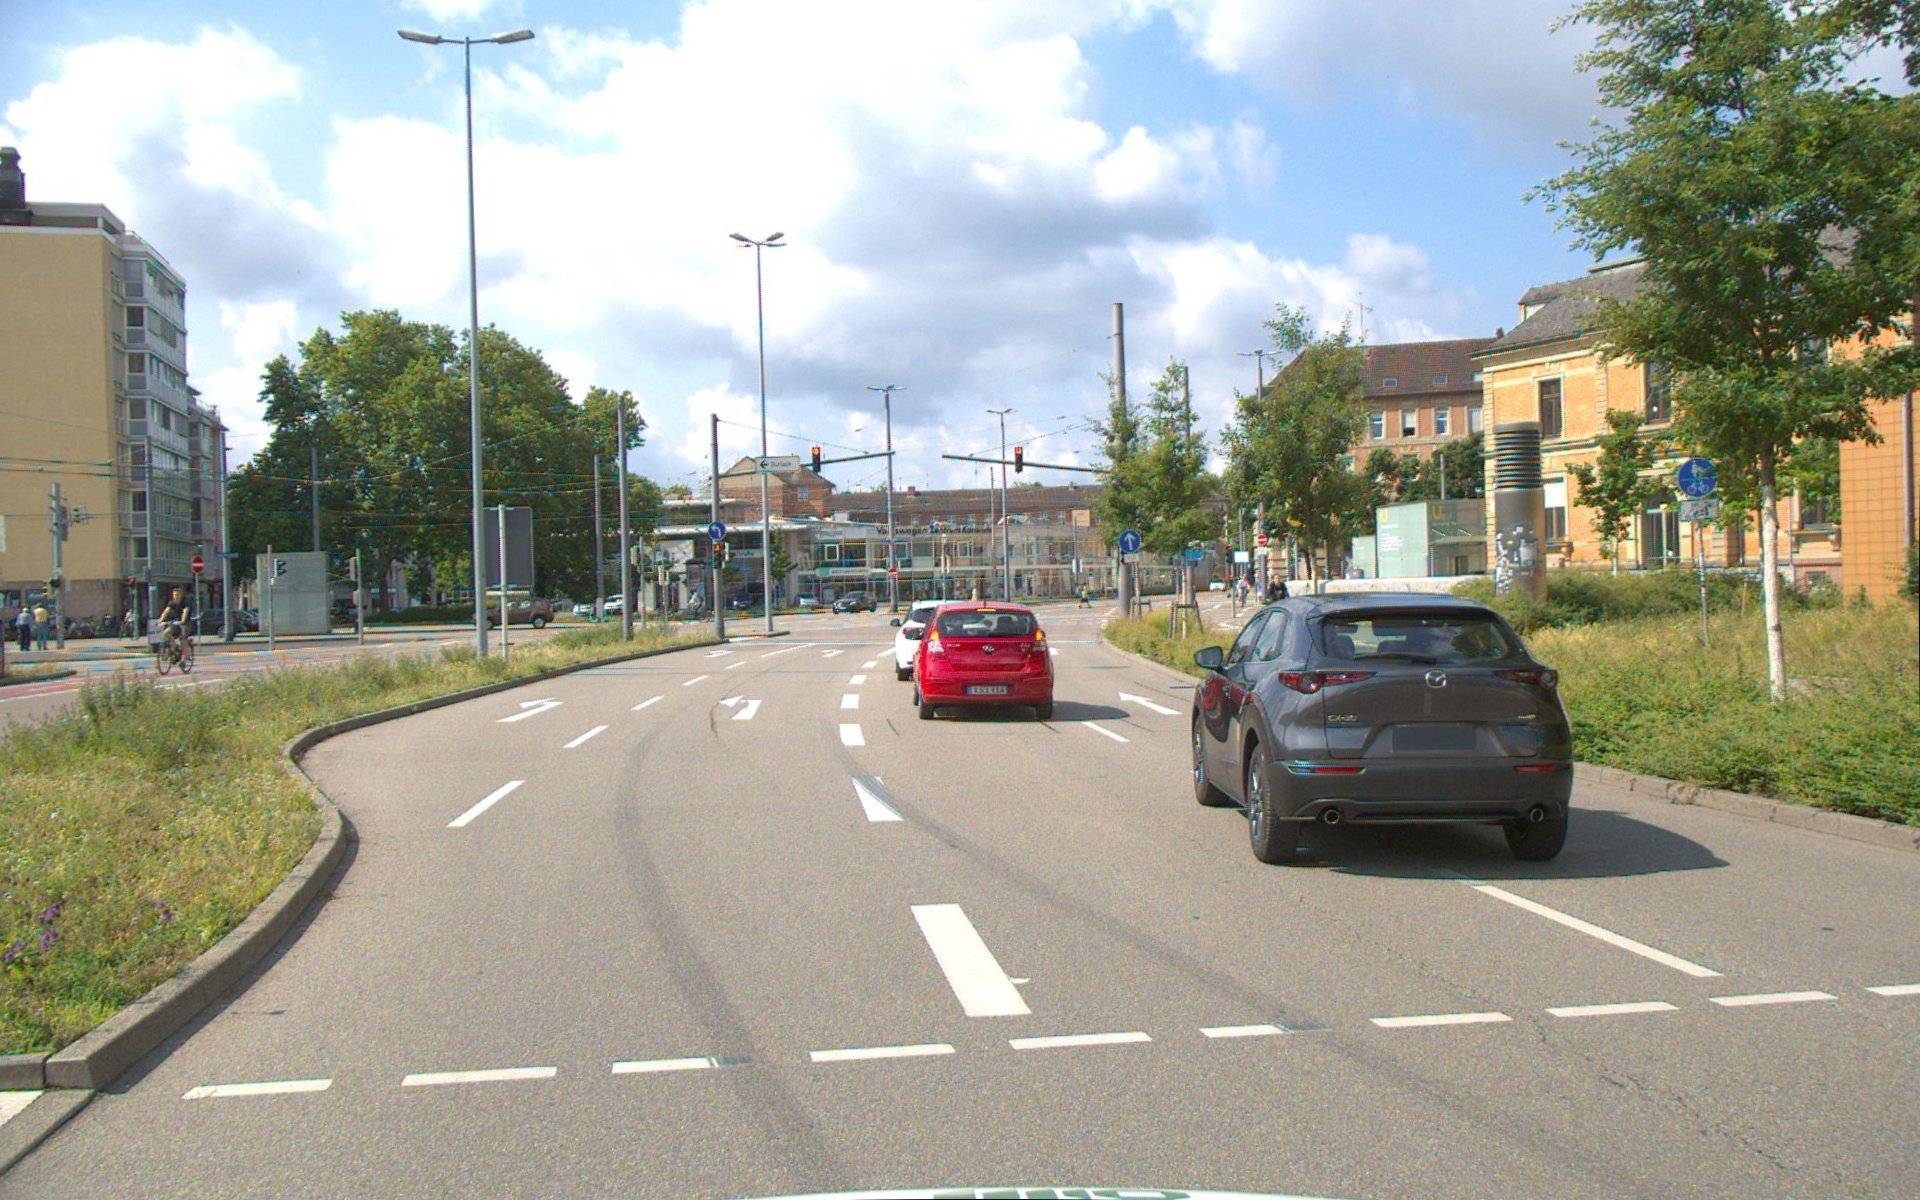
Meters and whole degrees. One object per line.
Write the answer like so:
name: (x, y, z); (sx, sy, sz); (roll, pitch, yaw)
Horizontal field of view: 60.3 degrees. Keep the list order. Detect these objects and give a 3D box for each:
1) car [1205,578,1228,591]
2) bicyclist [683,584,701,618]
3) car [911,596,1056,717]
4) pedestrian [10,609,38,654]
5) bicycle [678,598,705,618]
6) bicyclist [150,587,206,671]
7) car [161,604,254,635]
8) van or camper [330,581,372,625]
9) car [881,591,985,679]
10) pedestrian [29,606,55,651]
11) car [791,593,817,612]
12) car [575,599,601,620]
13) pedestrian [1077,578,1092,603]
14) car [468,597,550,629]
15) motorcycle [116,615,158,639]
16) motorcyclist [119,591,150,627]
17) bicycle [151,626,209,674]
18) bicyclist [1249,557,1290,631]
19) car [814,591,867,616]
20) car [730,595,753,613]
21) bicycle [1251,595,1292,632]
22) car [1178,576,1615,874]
car: (30.591, -1.825, 197.293); (1.952, 1.467, 4.001); (-1, 0, 21)
bicyclist: (-15.509, 0.055, 95.713); (0.873, 1.903, 0.759); (-2, 0, -21)
car: (0.272, 0.691, 22.418); (1.779, 1.464, 4.067); (0, 0, -1)
pedestrian: (-40.255, 1.348, 71.148); (0.684, 1.892, 0.819); (-2, 0, 0)
bicycle: (-15.549, 0.469, 95.690); (1.444, 1.136, 0.584); (-2, 0, -21)
bicyclist: (-17.713, 0.651, 37.482); (0.795, 1.854, 1.157); (-1, 0, -8)
car: (-37.816, 0.985, 83.219); (4.001, 1.534, 1.806); (0, 0, -16)
van or camper: (-42.908, 0.188, 116.432); (2.546, 2.959, 6.058); (-2, 0, -22)
car: (-0.556, 0.607, 31.575); (1.811, 1.498, 4.333); (-2, 0, -2)
pedestrian: (-39.516, 1.234, 71.184); (0.637, 1.900, 0.781); (-2, 0, 0)
car: (-14.152, 0.189, 149.522); (1.958, 1.624, 3.989); (-1, 0, -11)
car: (-33.653, 0.844, 149.704); (1.763, 1.800, 3.995); (-2, 0, -6)
pedestrian: (7.973, -0.603, 105.955); (0.669, 1.562, 0.664); (-2, 0, -39)
car: (-23.378, 0.671, 85.790); (4.001, 1.534, 1.806); (-2, 0, -16)
motorcycle: (-42.450, 1.396, 85.298); (0.764, 1.134, 2.436); (-2, 0, 5)
motorcyclist: (-42.489, 0.478, 85.171); (0.869, 1.813, 1.243); (-2, 0, 5)
bicycle: (-17.705, 1.125, 37.586); (0.605, 1.019, 2.014); (-1, 0, -8)
bicyclist: (7.461, -0.148, 39.874); (0.720, 1.732, 0.965); (-3, 0, 1)
car: (-8.027, 0.246, 111.426); (1.952, 1.556, 4.000); (-1, 0, 21)
car: (-19.569, 0.357, 148.088); (1.955, 1.579, 4.072); (-1, 0, -7)
bicycle: (7.488, 0.316, 39.814); (0.612, 0.825, 1.789); (-3, 0, 0)
car: (2.555, 0.666, 10.733); (1.769, 1.534, 4.205); (-1, 0, 1)
